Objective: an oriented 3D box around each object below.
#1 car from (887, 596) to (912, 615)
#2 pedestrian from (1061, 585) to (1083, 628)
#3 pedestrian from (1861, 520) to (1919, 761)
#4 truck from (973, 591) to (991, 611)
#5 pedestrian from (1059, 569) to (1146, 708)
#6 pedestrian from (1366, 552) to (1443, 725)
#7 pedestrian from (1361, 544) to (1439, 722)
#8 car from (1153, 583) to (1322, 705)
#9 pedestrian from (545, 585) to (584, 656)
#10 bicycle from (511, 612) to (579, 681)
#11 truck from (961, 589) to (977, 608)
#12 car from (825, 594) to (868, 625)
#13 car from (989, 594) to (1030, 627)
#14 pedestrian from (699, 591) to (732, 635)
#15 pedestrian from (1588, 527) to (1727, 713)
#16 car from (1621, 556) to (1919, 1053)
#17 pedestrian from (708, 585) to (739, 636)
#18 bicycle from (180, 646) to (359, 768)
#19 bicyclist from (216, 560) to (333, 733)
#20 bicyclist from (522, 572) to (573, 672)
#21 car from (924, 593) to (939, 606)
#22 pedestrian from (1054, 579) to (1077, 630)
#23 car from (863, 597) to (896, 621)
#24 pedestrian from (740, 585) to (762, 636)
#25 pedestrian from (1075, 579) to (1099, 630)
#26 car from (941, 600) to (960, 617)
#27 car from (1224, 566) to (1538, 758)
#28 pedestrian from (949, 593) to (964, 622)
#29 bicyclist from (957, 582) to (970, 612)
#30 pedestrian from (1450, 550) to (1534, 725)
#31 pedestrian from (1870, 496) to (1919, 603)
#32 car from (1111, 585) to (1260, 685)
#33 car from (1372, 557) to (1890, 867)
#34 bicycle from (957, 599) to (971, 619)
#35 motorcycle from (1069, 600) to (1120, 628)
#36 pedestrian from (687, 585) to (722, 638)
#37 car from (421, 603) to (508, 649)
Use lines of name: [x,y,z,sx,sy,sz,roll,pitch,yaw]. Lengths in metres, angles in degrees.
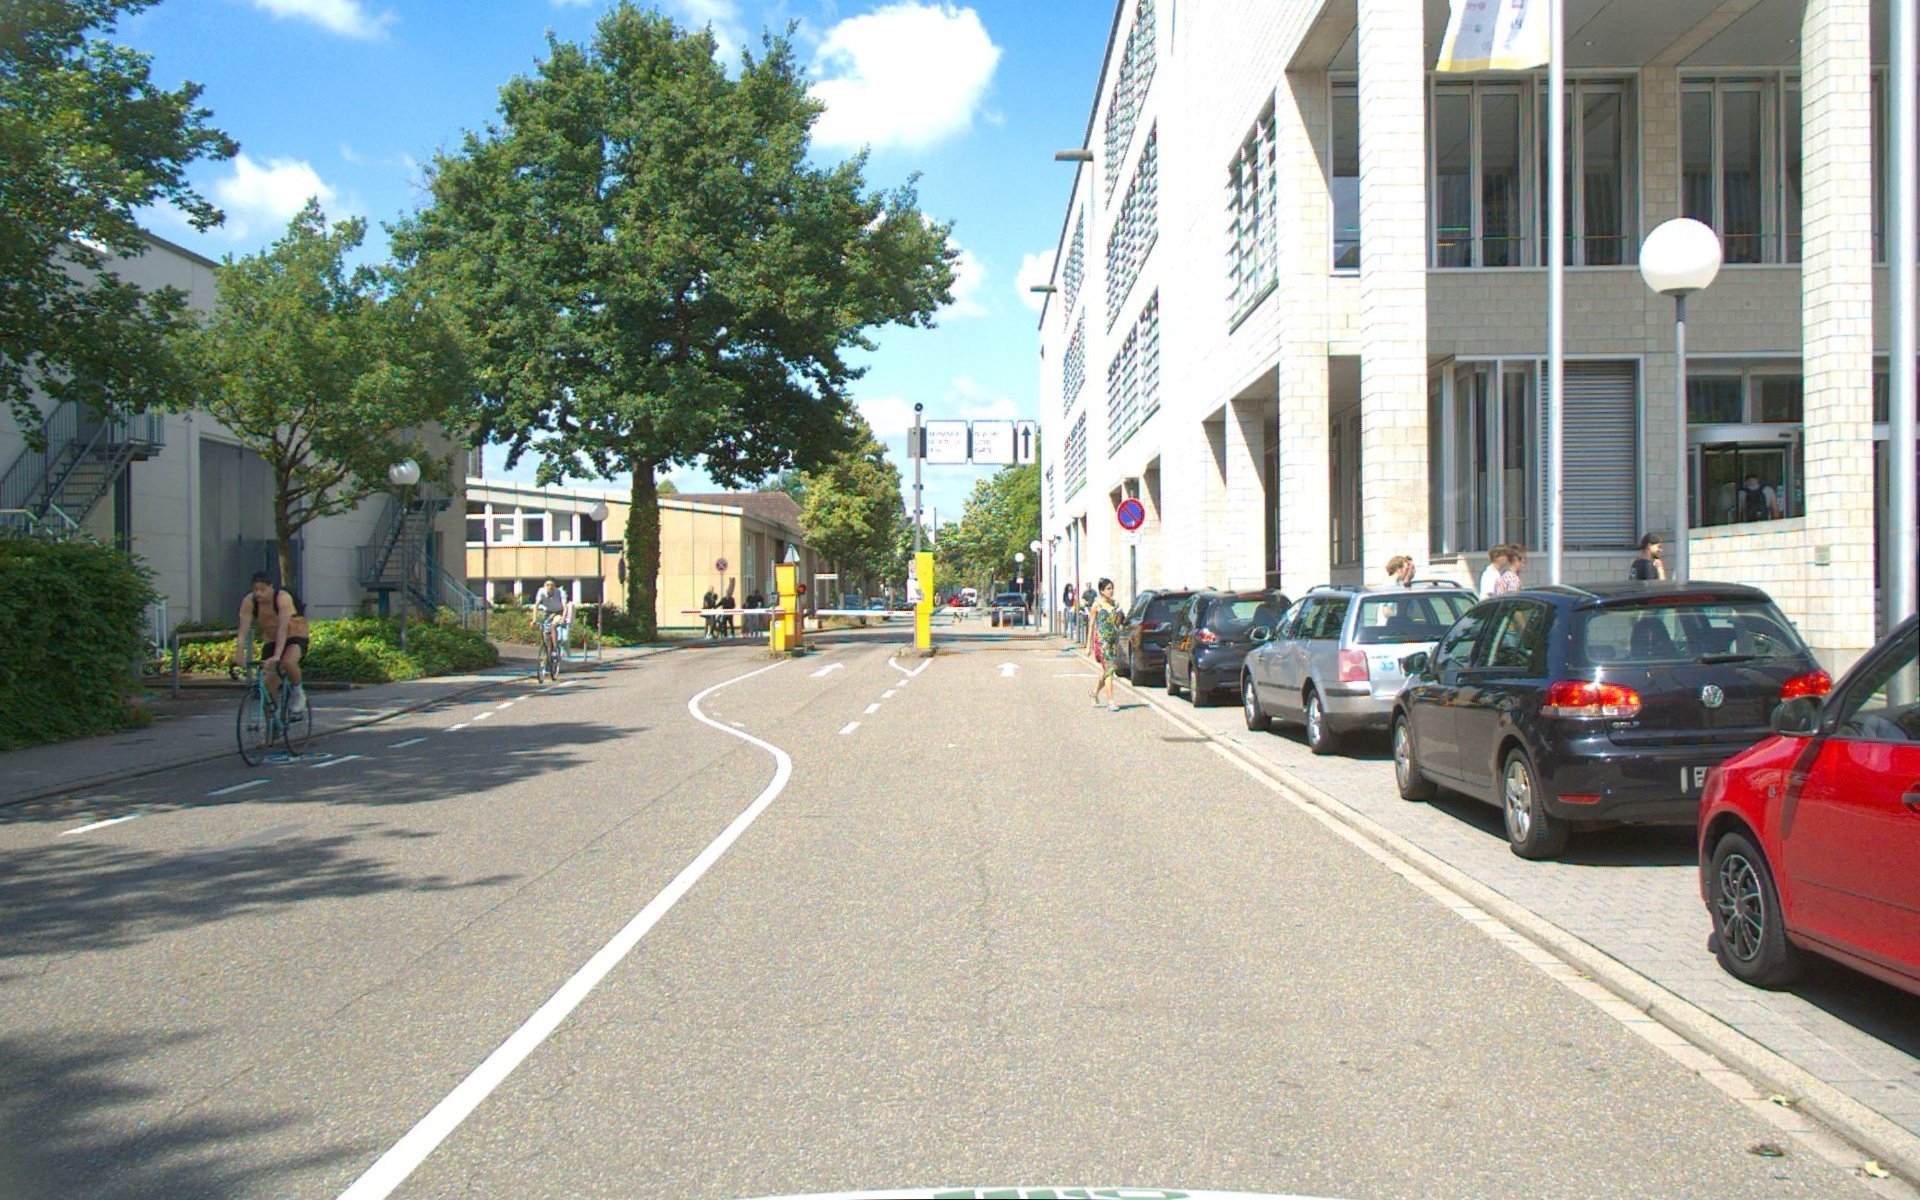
car: [-5.067,0.448,138.971,1.952,1.573,4.212,0,0,1]
pedestrian: [4.436,0.247,65.713,0.726,1.661,0.887,-2,0,-1]
pedestrian: [7.523,0.295,12.477,0.899,1.770,1.001,-1,0,0]
truck: [2.483,0.149,186.572,1.953,2.049,3.998,-1,-2,-1]
pedestrian: [1.839,0.486,21.430,0.617,1.747,1.029,-1,0,-32]
pedestrian: [5.172,0.440,19.224,0.766,1.959,0.734,-1,0,22]
pedestrian: [4.961,0.360,18.637,0.767,1.959,0.593,-1,0,22]
car: [3.708,0.550,22.696,1.581,1.523,4.005,0,0,-1]
pedestrian: [-9.330,0.480,39.051,0.698,1.655,0.883,0,0,-1]
bicycle: [-7.504,0.815,29.998,0.678,1.191,2.209,-1,0,-1]
truck: [1.179,-0.152,216.857,1.953,2.311,4.614,-1,-2,-1]
car: [-6.062,0.497,88.883,1.952,1.573,4.212,0,0,1]
car: [2.420,0.505,81.528,1.952,1.573,4.212,-1,0,1]
pedestrian: [-9.268,0.493,62.717,0.867,1.661,0.896,0,-1,26]
pedestrian: [7.540,0.210,17.939,1.072,1.953,1.021,0,0,1]
car: [3.730,0.603,5.243,1.581,1.522,4.147,-3,0,0]
pedestrian: [-8.647,0.366,60.497,1.034,1.847,0.806,-1,0,-1]
bicycle: [-6.459,0.971,15.616,0.776,1.006,2.209,-1,0,-1]
bicyclist: [-6.474,0.425,15.668,0.678,1.575,1.018,-1,0,-1]
bicyclist: [-7.442,0.391,29.900,0.678,1.767,0.918,-1,0,-1]
car: [-4.218,-0.004,243.522,1.952,1.751,4.001,-1,-2,3]
pedestrian: [3.838,0.168,60.285,0.680,1.811,1.085,-2,0,-1]
car: [-5.387,0.566,110.833,1.952,1.573,4.212,0,0,1]
pedestrian: [-7.630,0.387,60.427,0.691,1.841,1.001,-1,0,-1]
pedestrian: [4.636,0.151,60.367,0.751,1.811,0.910,-2,0,-1]
car: [-1.050,0.960,185.234,1.952,1.751,4.001,-1,-2,3]
car: [3.931,0.519,16.271,1.685,1.556,4.564,-2,0,-3]
pedestrian: [-0.206,0.460,95.926,0.876,1.661,0.887,0,-1,-1]
bicyclist: [0.258,-0.199,120.887,0.967,2.169,1.036,-1,-2,0]
pedestrian: [6.065,0.418,18.880,0.709,1.959,0.751,0,0,0]
pedestrian: [14.704,-0.777,25.709,0.703,1.613,0.716,-1,-2,3]
car: [3.603,0.532,27.187,1.828,1.490,4.520,0,0,0]
car: [3.928,0.574,10.457,1.684,1.556,4.000,-1,0,1]
bicycle: [0.291,0.660,120.610,0.967,1.339,2.963,-1,-2,0]
motorcycle: [5.593,0.587,68.900,2.079,1.040,0.660,-2,-2,1]
pedestrian: [-9.536,0.424,61.771,0.867,1.959,1.005,0,-1,25]
car: [-17.217,0.882,57.629,1.792,1.492,4.298,0,0,-1]
